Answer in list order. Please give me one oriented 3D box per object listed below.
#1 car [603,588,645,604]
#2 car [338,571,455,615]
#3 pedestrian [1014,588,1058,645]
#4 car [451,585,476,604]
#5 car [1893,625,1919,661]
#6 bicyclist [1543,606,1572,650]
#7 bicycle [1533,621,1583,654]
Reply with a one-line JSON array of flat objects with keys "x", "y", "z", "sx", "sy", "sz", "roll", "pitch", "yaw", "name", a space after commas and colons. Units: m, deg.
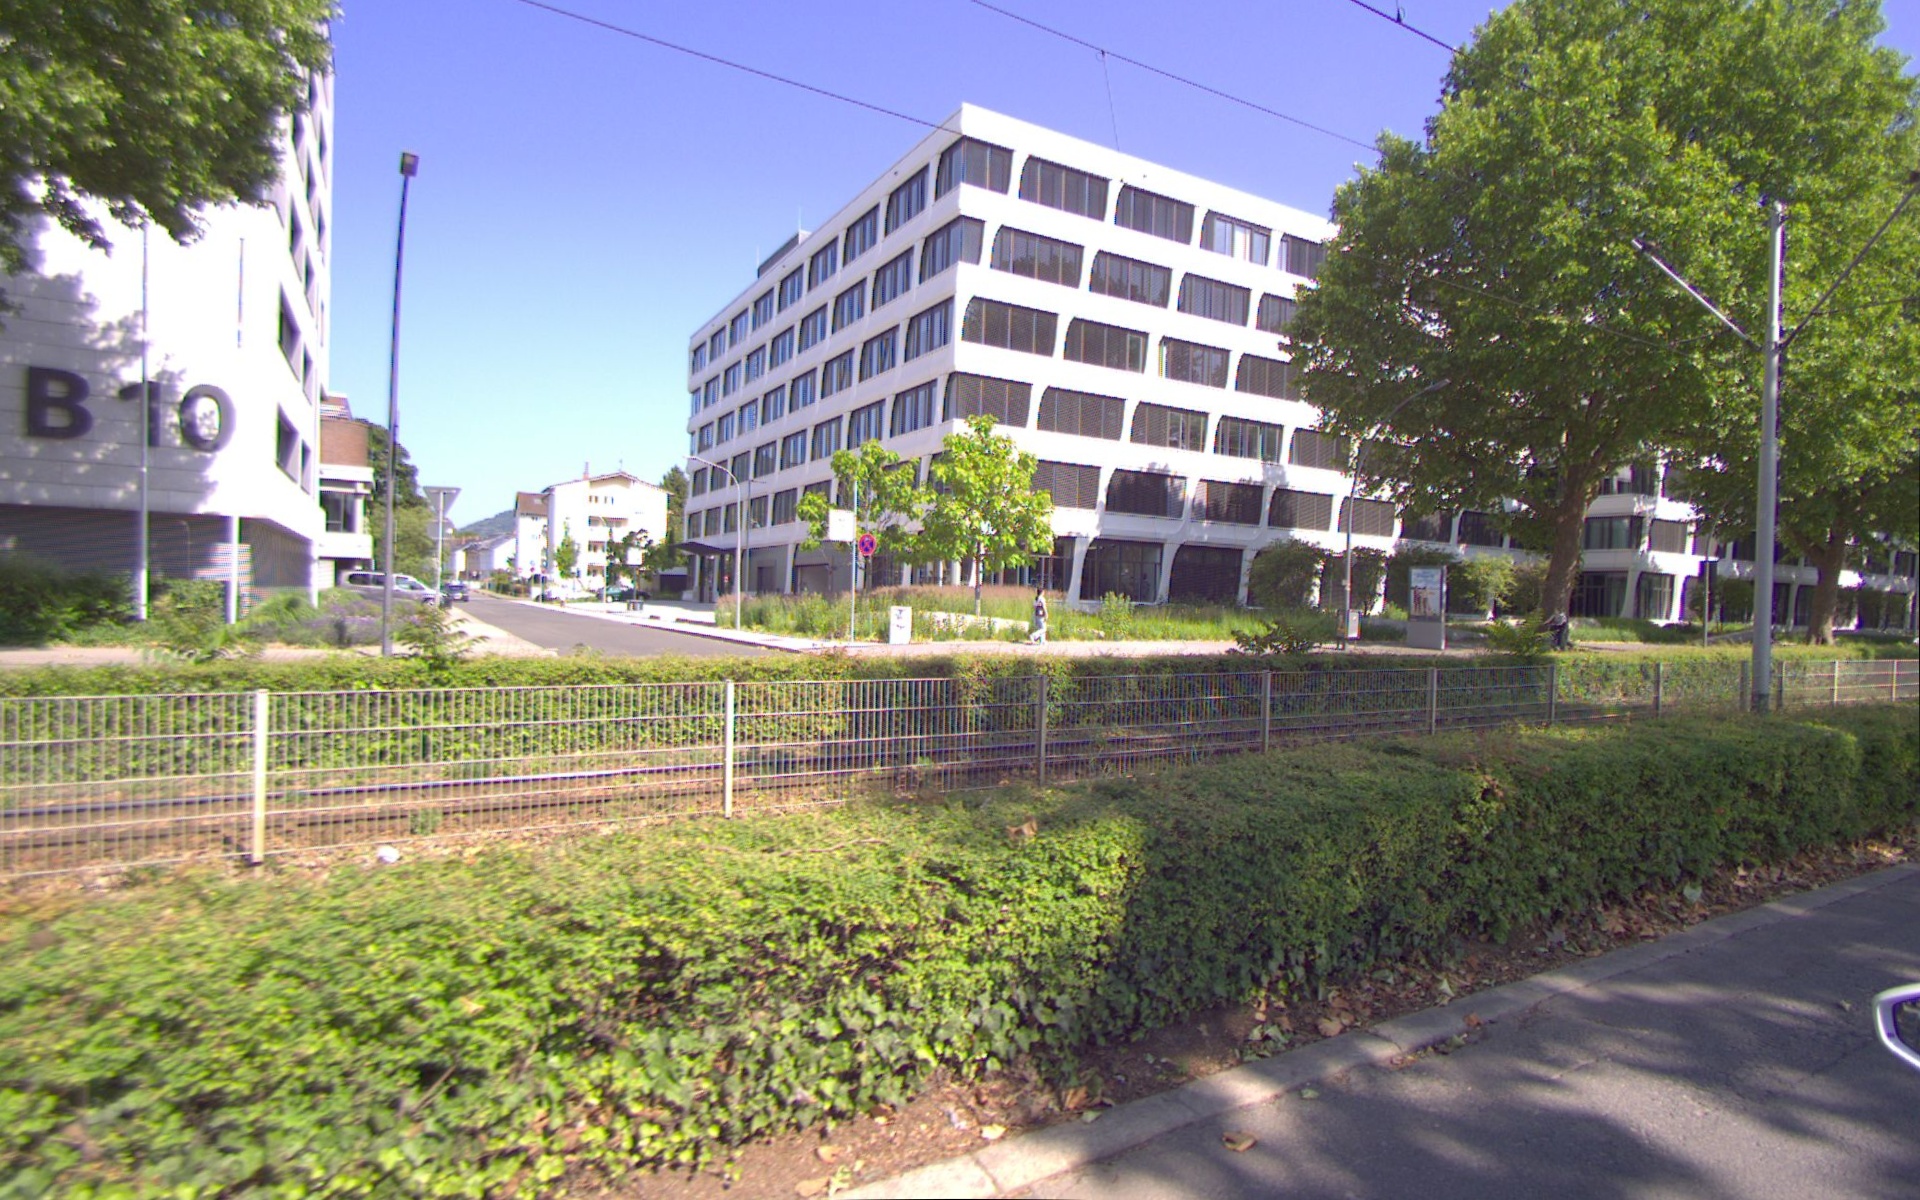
[{"x": -27.418, "y": -0.328, "z": 82.024, "sx": 2.996, "sy": 1.211, "sz": 1.360, "roll": 1, "pitch": 0, "yaw": -30, "name": "car"}, {"x": -25.724, "y": -0.298, "z": 45.993, "sx": 4.562, "sy": 1.839, "sz": 1.984, "roll": 2, "pitch": 0, "yaw": -30, "name": "car"}, {"x": 2.212, "y": 0.465, "z": 29.077, "sx": 1.003, "sy": 1.609, "sz": 0.717, "roll": 1, "pitch": 1, "yaw": -30, "name": "pedestrian"}, {"x": -42.453, "y": -0.499, "z": 85.879, "sx": 1.712, "sy": 1.555, "sz": 3.768, "roll": 1, "pitch": 0, "yaw": -29, "name": "car"}, {"x": 45.060, "y": 1.998, "z": 46.418, "sx": 3.971, "sy": 1.591, "sz": 1.748, "roll": 1, "pitch": 1, "yaw": -30, "name": "car"}, {"x": 21.952, "y": 1.029, "z": 36.893, "sx": 0.633, "sy": 1.555, "sz": 0.651, "roll": 1, "pitch": 1, "yaw": -29, "name": "bicyclist"}, {"x": 21.978, "y": 1.378, "z": 36.910, "sx": 2.006, "sy": 1.139, "sz": 0.661, "roll": 2, "pitch": 1, "yaw": -30, "name": "bicycle"}]
